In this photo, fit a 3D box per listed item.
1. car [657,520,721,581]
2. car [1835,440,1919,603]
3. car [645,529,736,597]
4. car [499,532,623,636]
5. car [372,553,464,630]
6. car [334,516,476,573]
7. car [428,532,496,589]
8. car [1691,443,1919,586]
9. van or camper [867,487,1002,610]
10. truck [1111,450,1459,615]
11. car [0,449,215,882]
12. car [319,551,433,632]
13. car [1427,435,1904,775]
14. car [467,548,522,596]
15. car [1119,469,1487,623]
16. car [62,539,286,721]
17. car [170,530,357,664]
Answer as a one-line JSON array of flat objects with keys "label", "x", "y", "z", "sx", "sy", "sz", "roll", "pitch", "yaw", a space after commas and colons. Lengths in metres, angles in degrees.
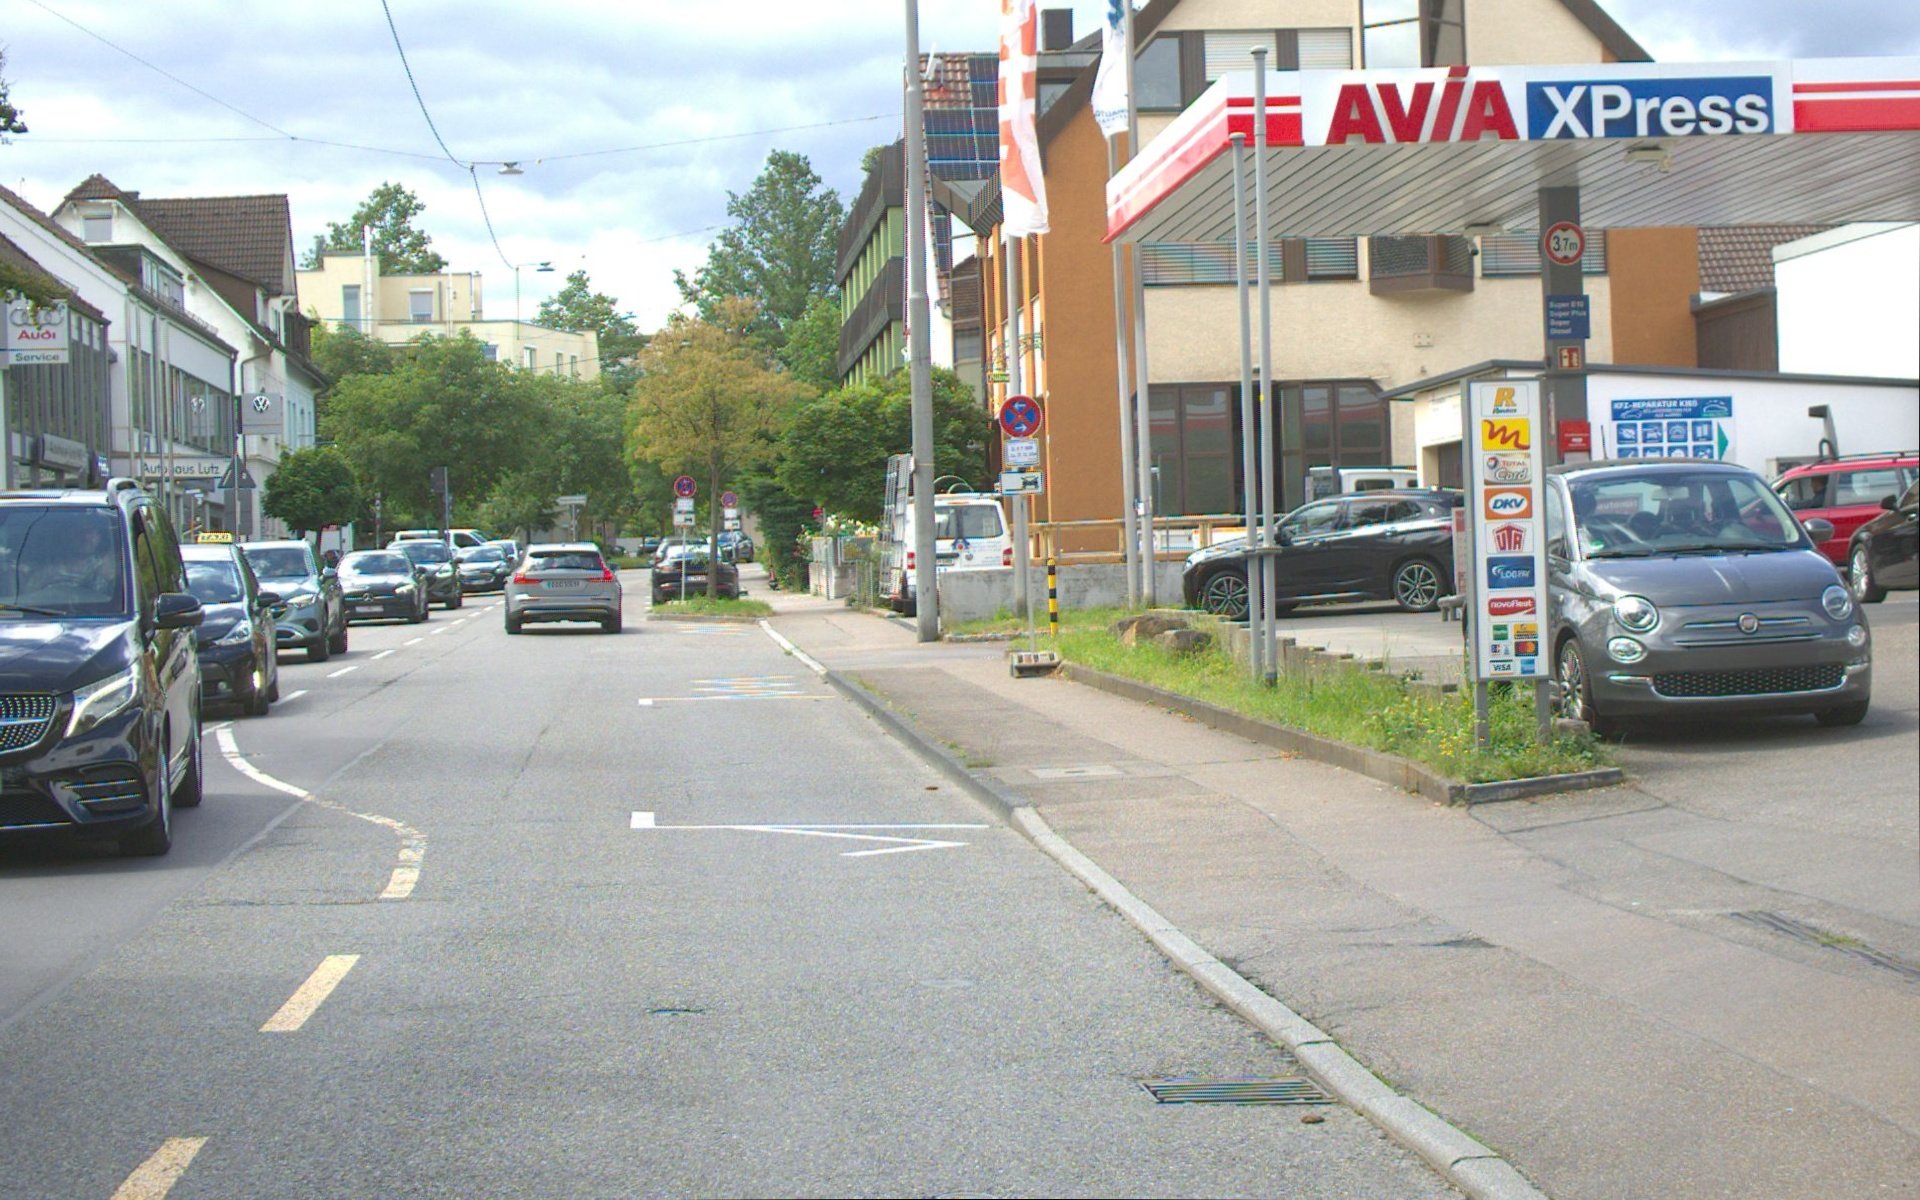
[{"label": "car", "x": -7.708, "y": -1.407, "z": 98.154, "sx": 1.689, "sy": 1.661, "sz": 4.463, "roll": -2, "pitch": 1, "yaw": -3}, {"label": "car", "x": 10.210, "y": -0.786, "z": 34.019, "sx": 1.630, "sy": 1.603, "sz": 4.572, "roll": -1, "pitch": 0, "yaw": -4}, {"label": "car", "x": -6.216, "y": -0.840, "z": 78.949, "sx": 1.984, "sy": 1.443, "sz": 4.752, "roll": -2, "pitch": 1, "yaw": -5}, {"label": "car", "x": -6.664, "y": -0.237, "z": 57.338, "sx": 1.955, "sy": 1.518, "sz": 4.329, "roll": -1, "pitch": -2, "yaw": -7}, {"label": "car", "x": -12.620, "y": -0.224, "z": 80.255, "sx": 1.831, "sy": 1.624, "sz": 4.322, "roll": -2, "pitch": 2, "yaw": -6}, {"label": "car", "x": -22.726, "y": -2.292, "z": 140.752, "sx": 5.215, "sy": 1.986, "sz": 2.107, "roll": -3, "pitch": 1, "yaw": 13}, {"label": "car", "x": -14.184, "y": -1.115, "z": 97.950, "sx": 1.831, "sy": 1.518, "sz": 4.171, "roll": -2, "pitch": 1, "yaw": -8}, {"label": "car", "x": 11.456, "y": -1.045, "z": 42.585, "sx": 4.596, "sy": 1.711, "sz": 1.824, "roll": 0, "pitch": 0, "yaw": 15}, {"label": "van or camper", "x": -0.476, "y": -0.859, "z": 59.236, "sx": 1.866, "sy": 2.025, "sz": 4.548, "roll": 0, "pitch": 0, "yaw": -6}, {"label": "truck", "x": 5.077, "y": -1.093, "z": 54.236, "sx": 5.086, "sy": 2.449, "sz": 2.358, "roll": -1, "pitch": 2, "yaw": -5}, {"label": "car", "x": -4.993, "y": 0.262, "z": 17.993, "sx": 1.908, "sy": 1.945, "sz": 4.915, "roll": -2, "pitch": 2, "yaw": -10}, {"label": "car", "x": -11.320, "y": -0.195, "z": 66.901, "sx": 1.740, "sy": 1.424, "sz": 4.525, "roll": -3, "pitch": 1, "yaw": -5}, {"label": "car", "x": 3.992, "y": -0.007, "z": 20.145, "sx": 1.615, "sy": 1.590, "sz": 4.160, "roll": -7, "pitch": 1, "yaw": -2}, {"label": "car", "x": -15.899, "y": -0.954, "z": 117.557, "sx": 1.689, "sy": 1.574, "sz": 3.801, "roll": -2, "pitch": 1, "yaw": -6}, {"label": "car", "x": 4.377, "y": -0.682, "z": 44.092, "sx": 4.312, "sy": 1.625, "sz": 1.633, "roll": -4, "pitch": 2, "yaw": 30}, {"label": "car", "x": -7.368, "y": 0.223, "z": 32.335, "sx": 1.865, "sy": 1.522, "sz": 4.529, "roll": -2, "pitch": 1, "yaw": -12}, {"label": "car", "x": -9.437, "y": -0.088, "z": 46.898, "sx": 1.865, "sy": 1.612, "sz": 4.536, "roll": -3, "pitch": 2, "yaw": -4}]
